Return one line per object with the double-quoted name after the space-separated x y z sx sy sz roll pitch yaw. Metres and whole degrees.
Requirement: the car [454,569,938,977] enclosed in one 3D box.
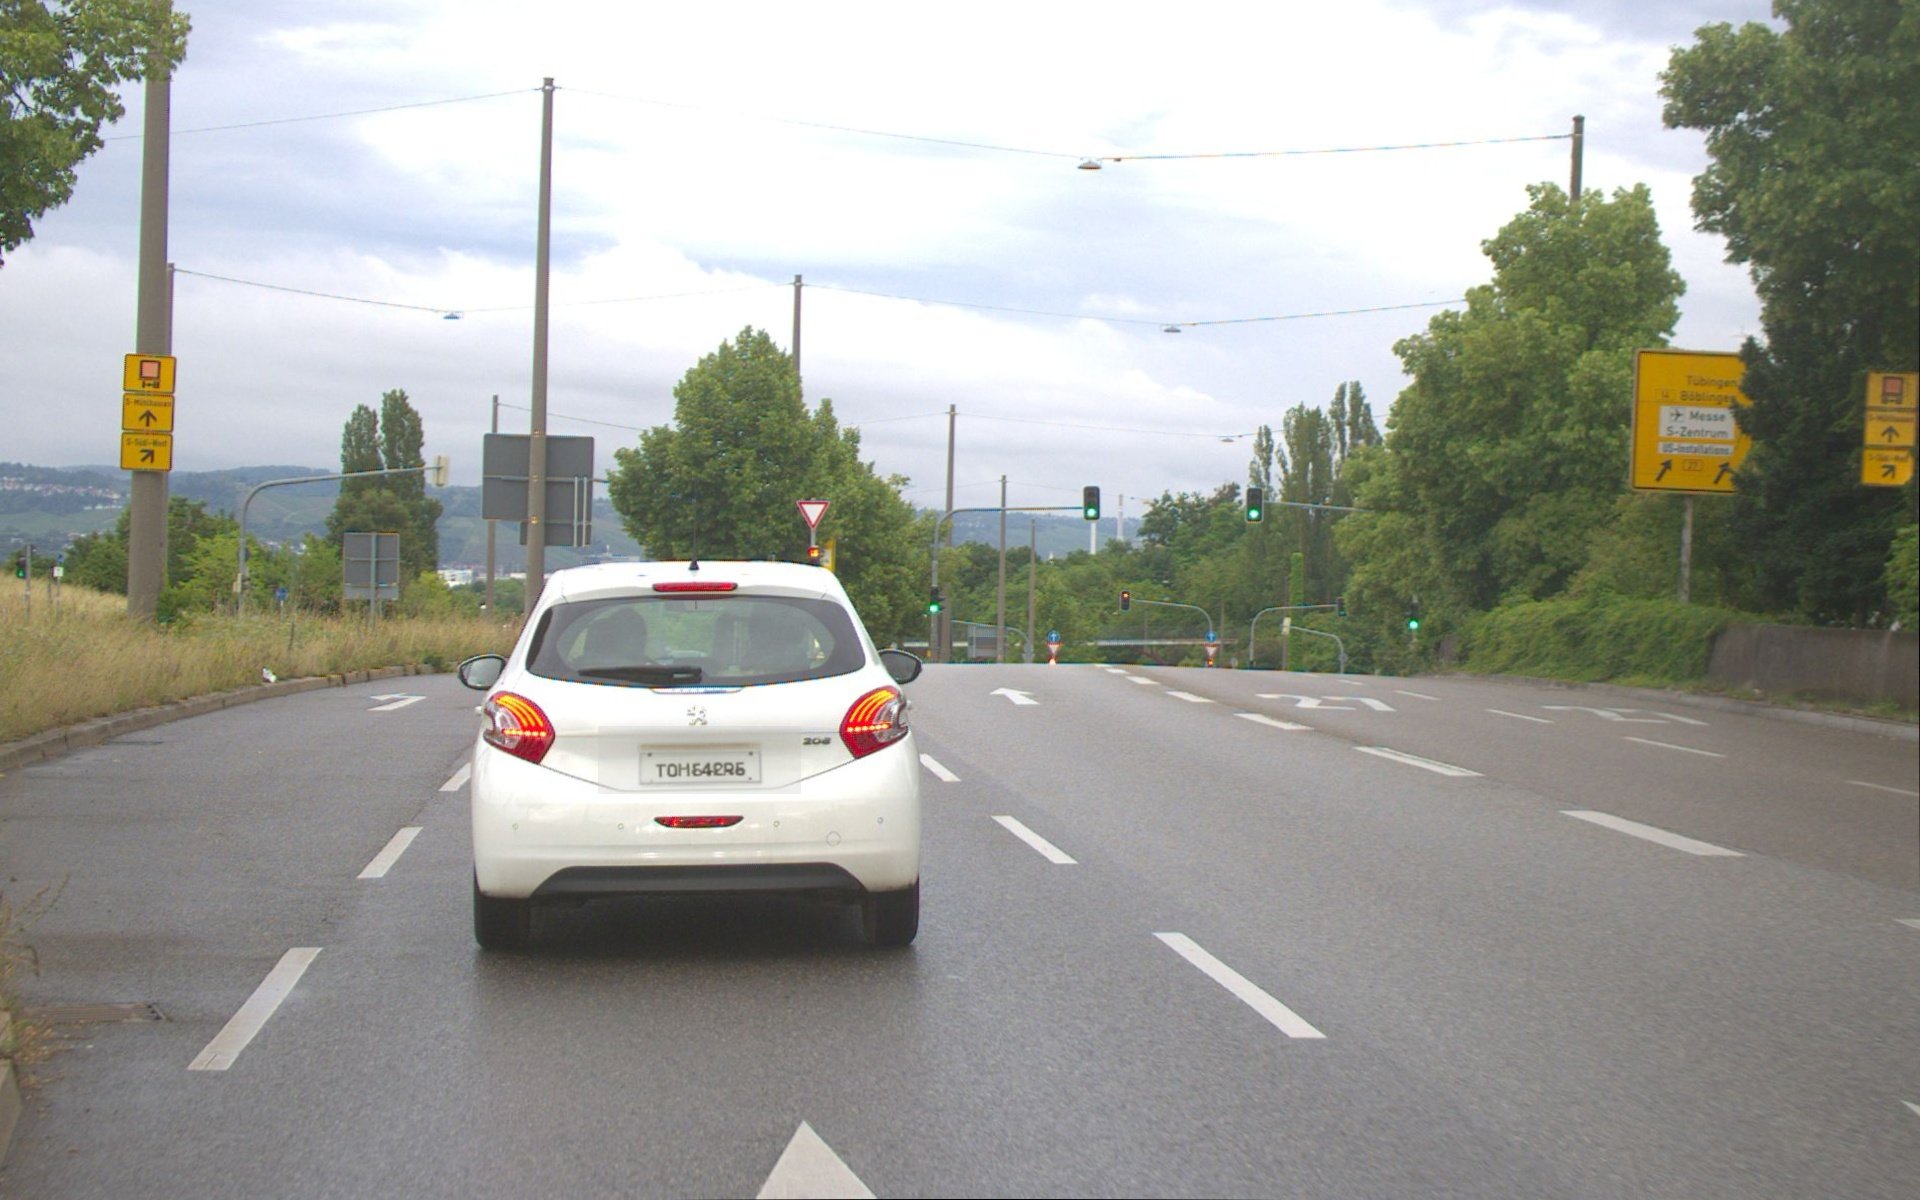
-1.096 0.598 14.071 1.708 1.435 3.691 0 0 -5 "car"
